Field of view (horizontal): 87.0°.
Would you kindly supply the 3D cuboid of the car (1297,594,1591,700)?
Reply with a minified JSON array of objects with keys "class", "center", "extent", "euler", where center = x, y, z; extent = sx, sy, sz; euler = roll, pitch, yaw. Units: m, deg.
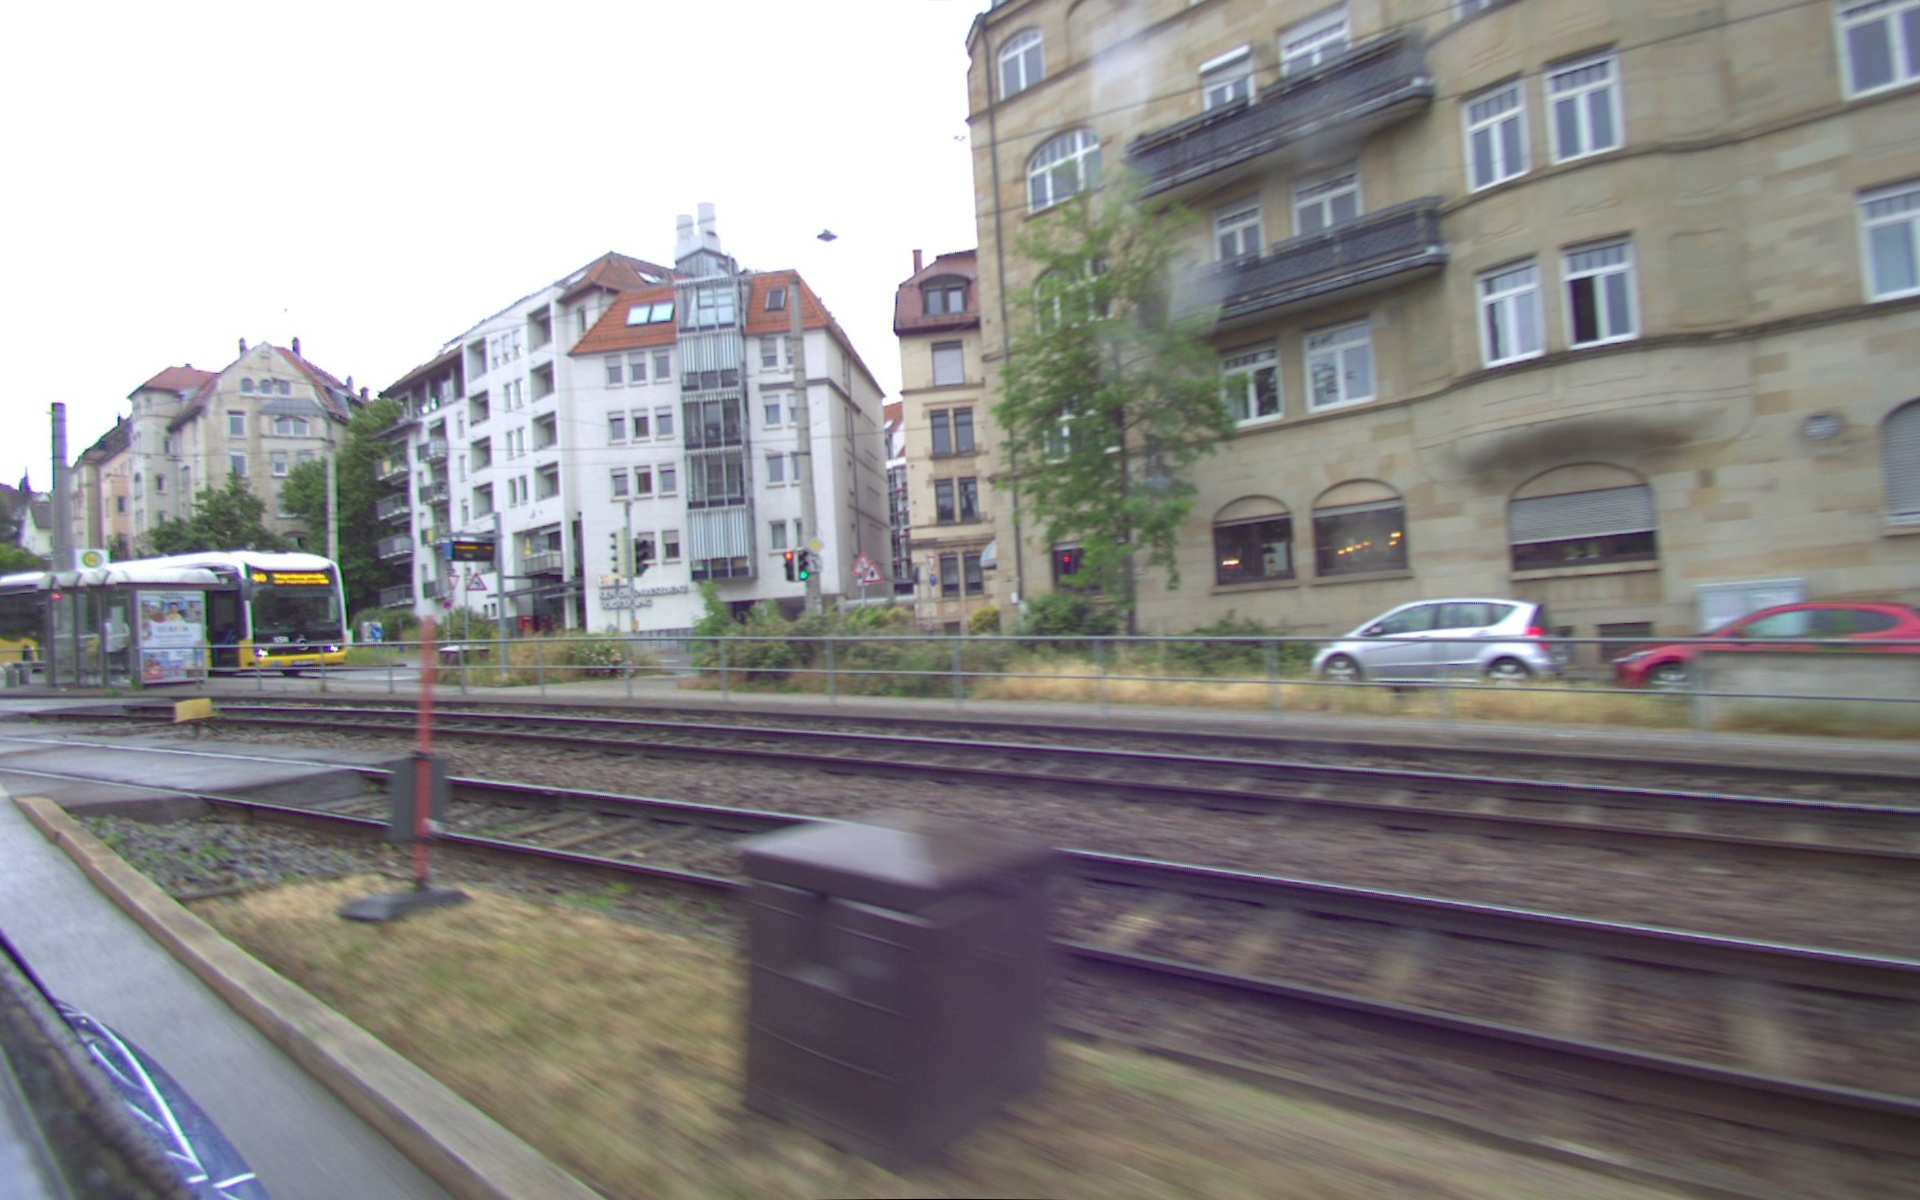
[{"class":"car","center":[8.006,0.752,16.967],"extent":[4.171,1.559,1.614],"euler":[-2,-2,40]}]

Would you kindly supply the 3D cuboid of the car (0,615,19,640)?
[{"class":"car","center":[-81.372,2.348,85.684],"extent":[3.996,2.029,1.973],"euler":[-2,-2,40]}]

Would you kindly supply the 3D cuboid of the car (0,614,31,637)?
[{"class":"car","center":[-78.181,2.101,83.509],"extent":[3.660,1.849,1.660],"euler":[-2,-2,37]}]

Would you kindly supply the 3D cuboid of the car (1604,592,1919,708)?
[{"class":"car","center":[11.531,0.661,14.069],"extent":[4.171,1.453,1.614],"euler":[-2,-2,40]}]

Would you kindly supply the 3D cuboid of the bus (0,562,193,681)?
[{"class":"bus","center":[-28.708,0.737,33.166],"extent":[9.075,3.495,2.571],"euler":[-1,-2,32]}]

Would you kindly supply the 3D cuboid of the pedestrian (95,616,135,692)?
[{"class":"pedestrian","center":[-20.120,1.272,24.094],"extent":[0.541,1.765,0.572],"euler":[-1,-2,28]}]
